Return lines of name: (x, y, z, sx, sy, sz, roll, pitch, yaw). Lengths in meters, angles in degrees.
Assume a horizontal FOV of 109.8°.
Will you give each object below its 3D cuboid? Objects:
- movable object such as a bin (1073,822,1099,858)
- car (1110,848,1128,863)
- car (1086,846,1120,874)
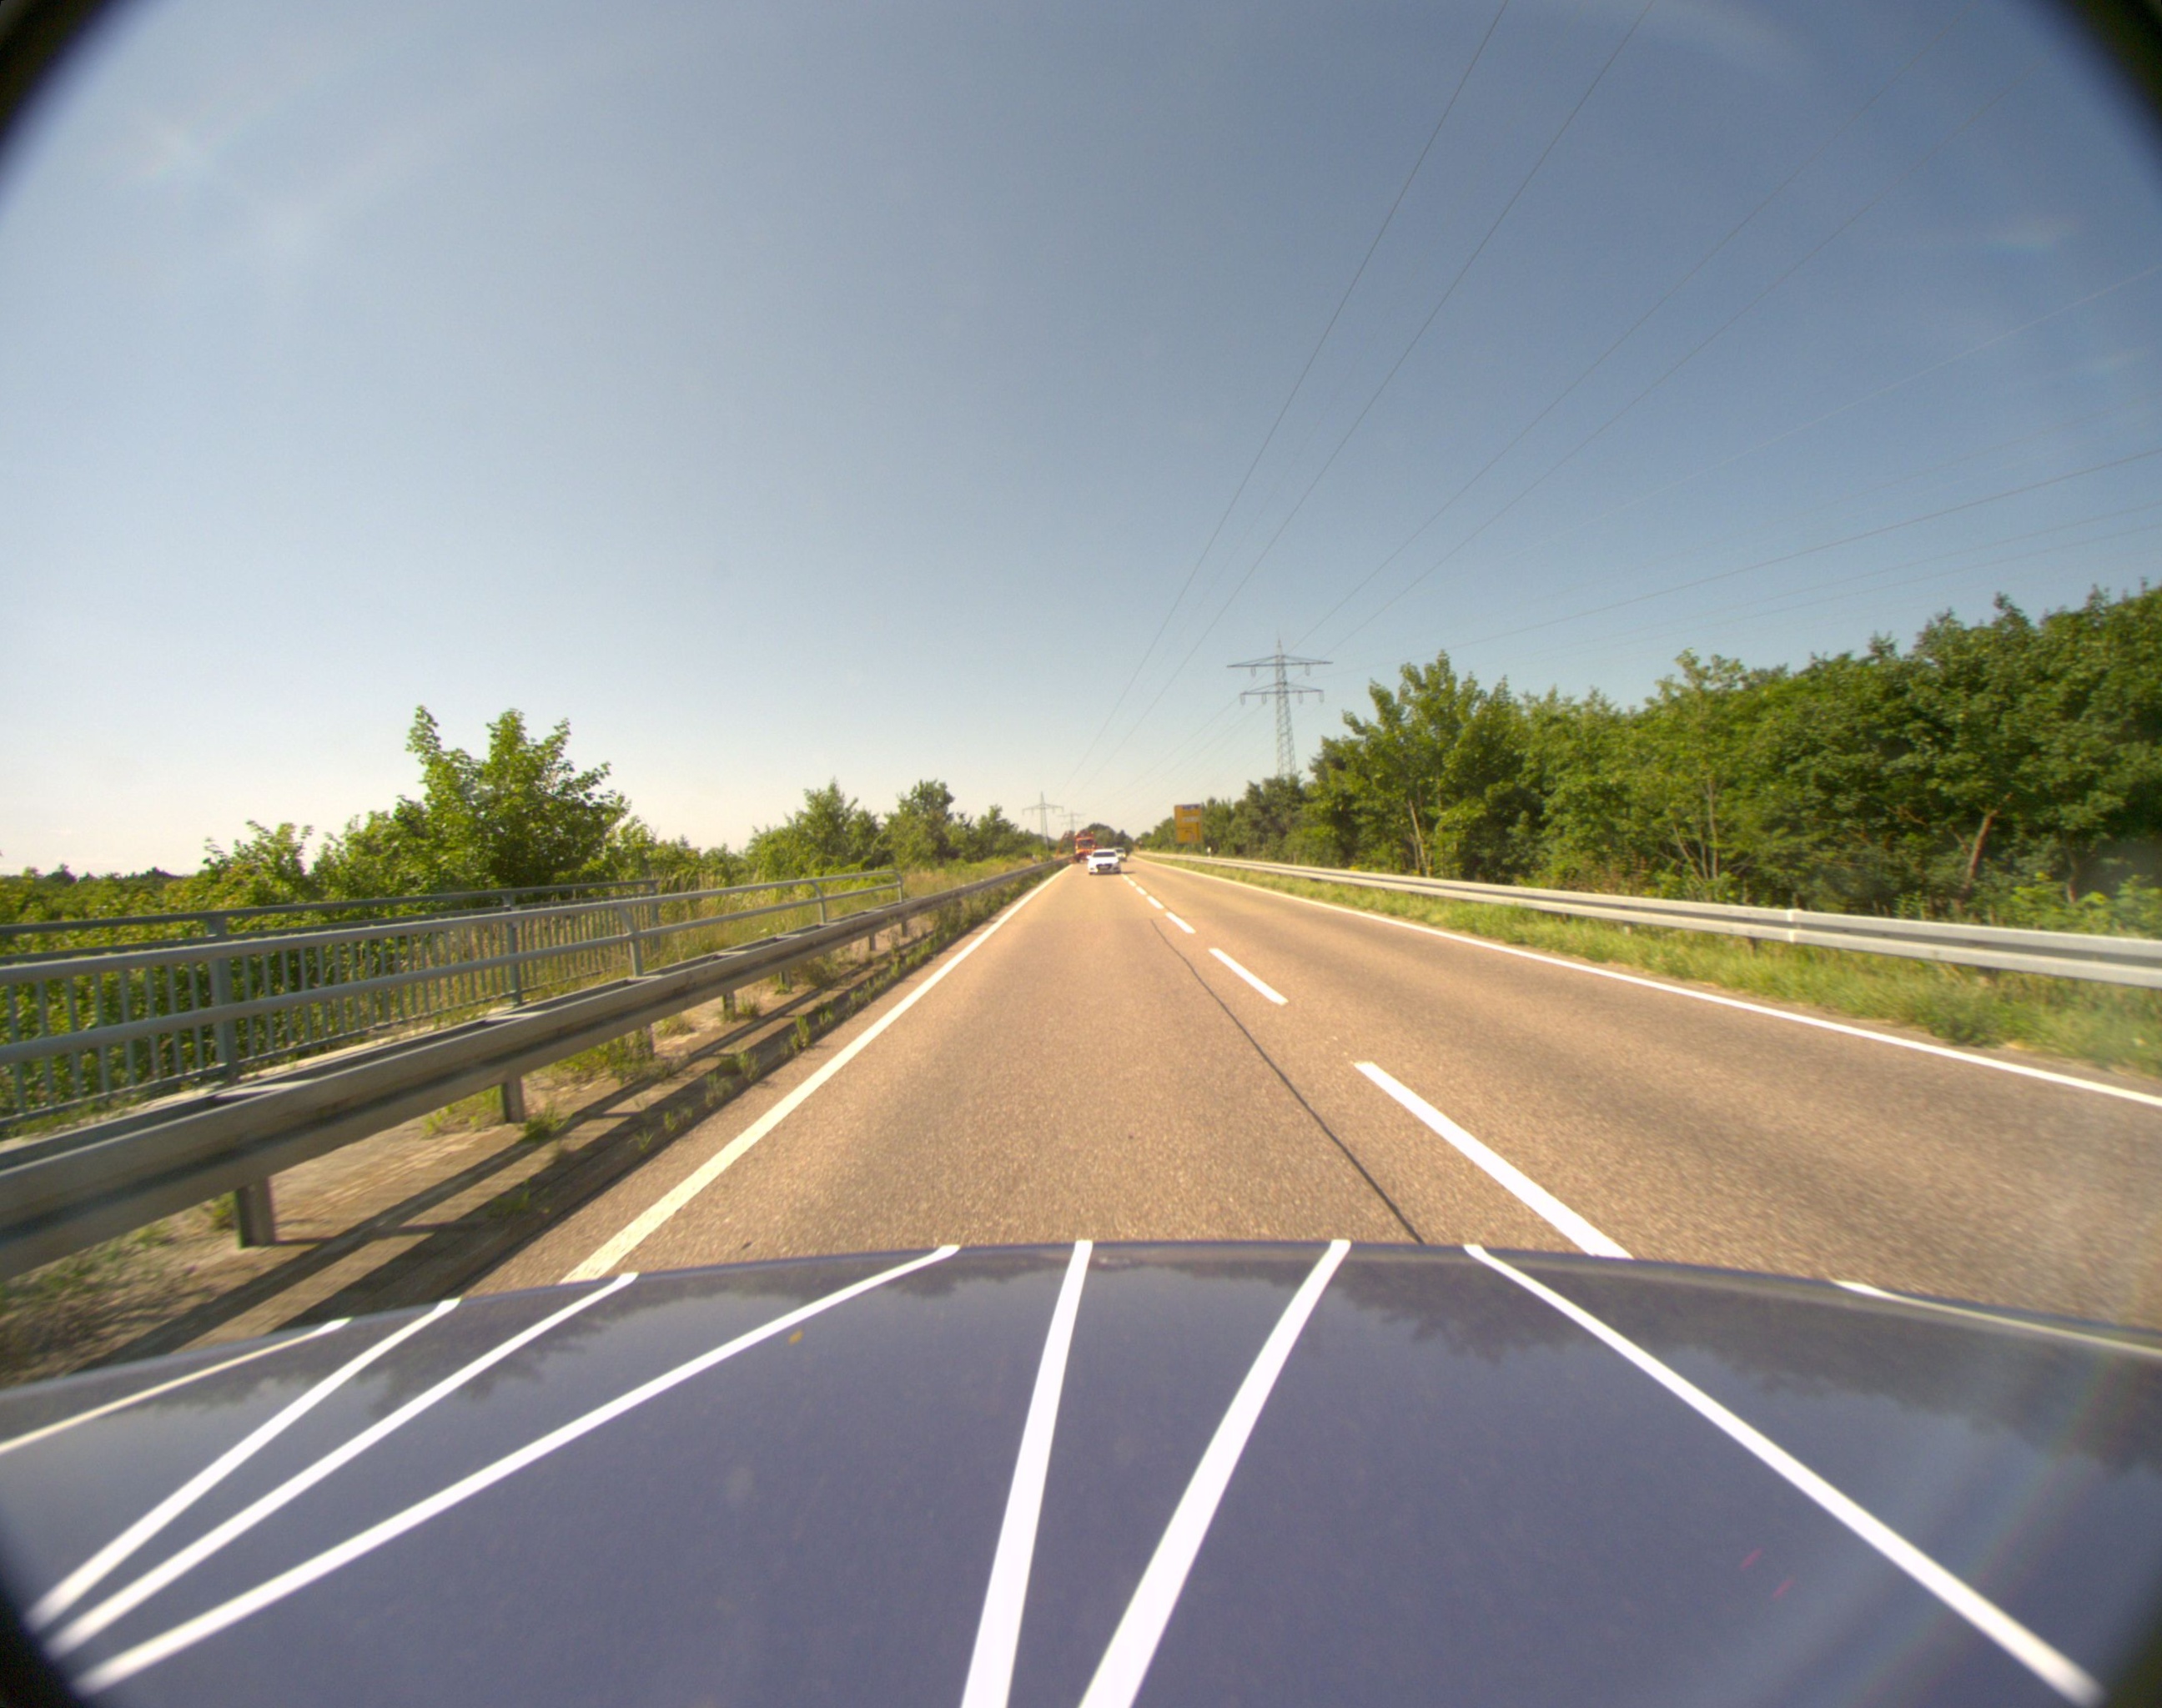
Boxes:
movable object such as a bin: (0.679, -1.599, 89.381, 2.760, 3.817, 9.444, -2, 0, 1)
car: (4.164, 0.143, 84.336, 1.922, 1.540, 4.793, -2, 0, 2)
car: (1.377, 0.322, 46.047, 1.922, 1.496, 4.794, -2, 0, 3)
